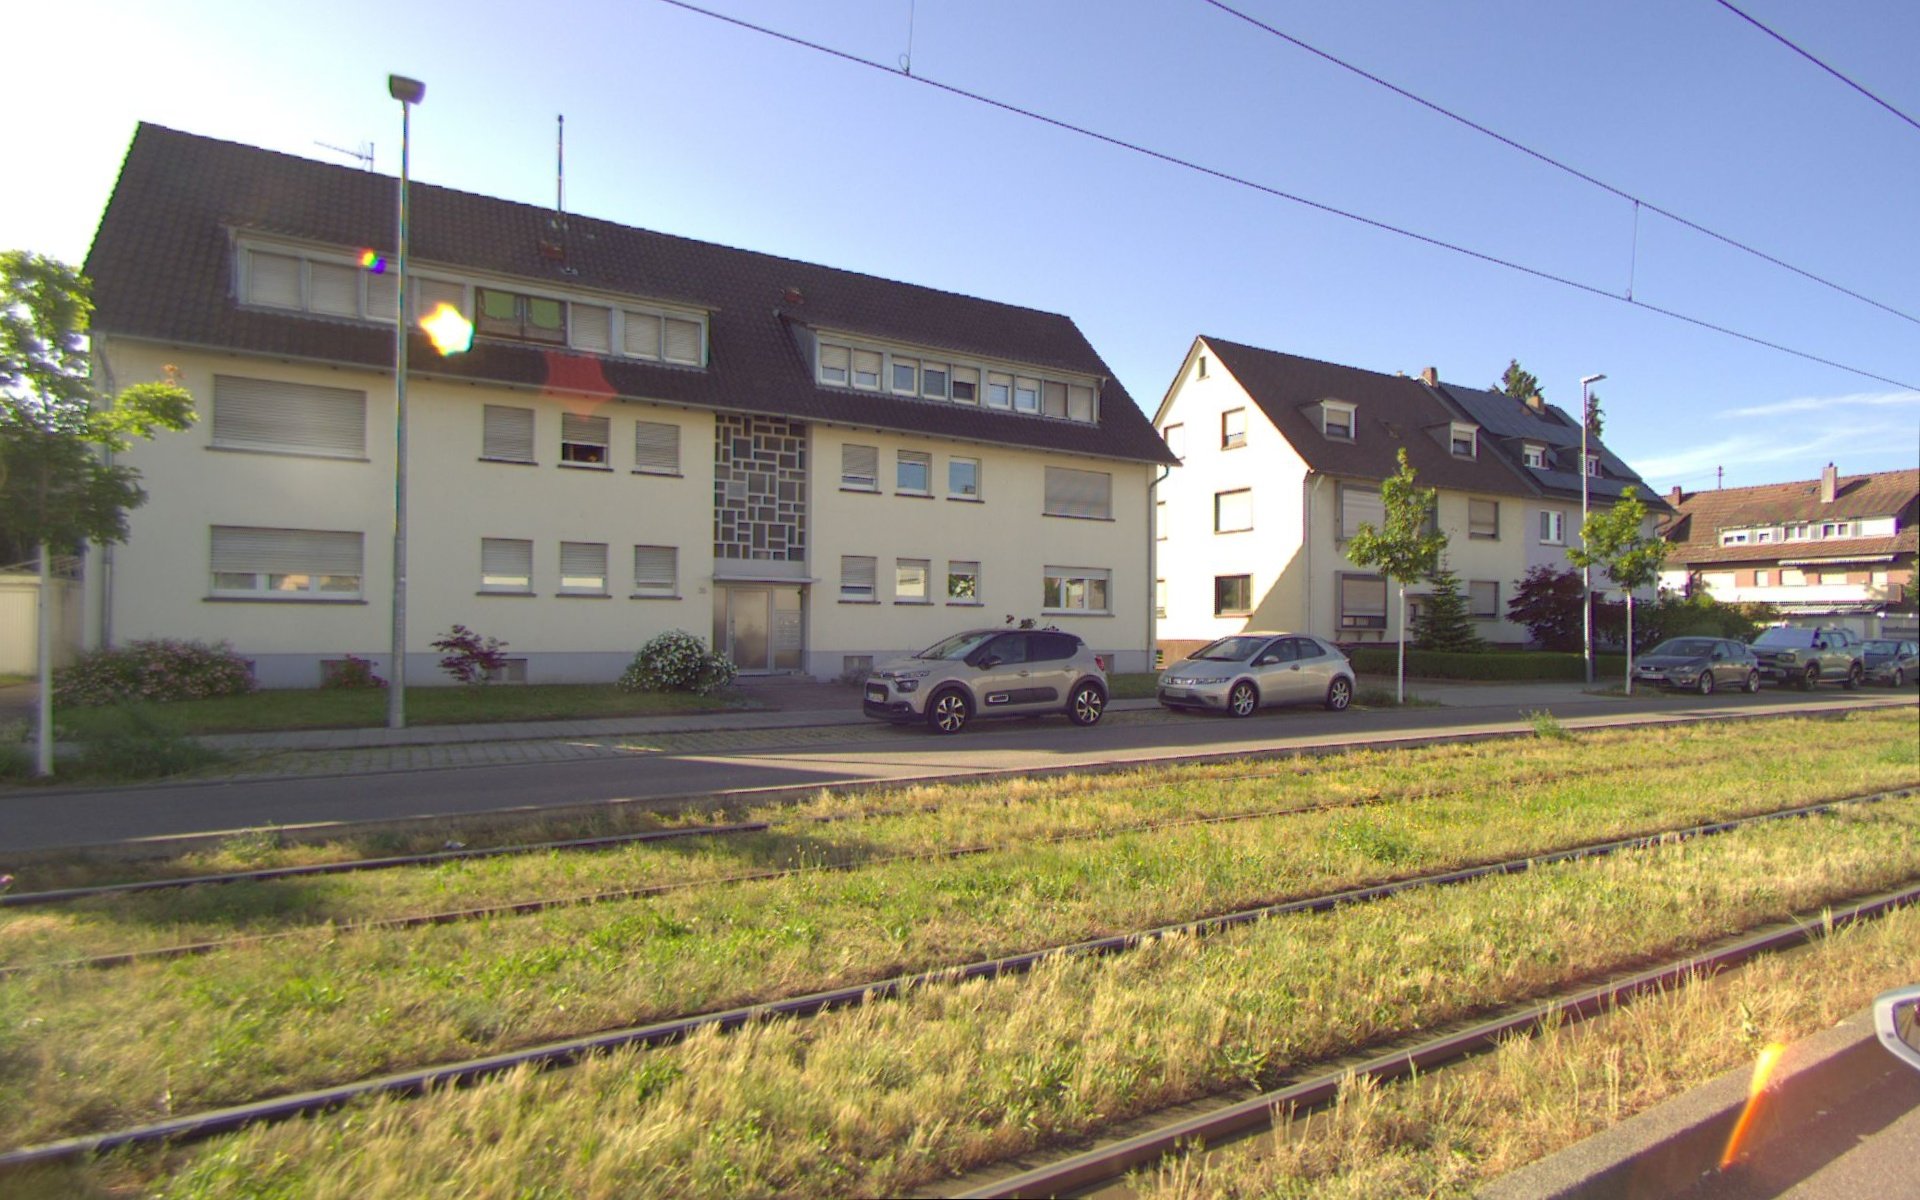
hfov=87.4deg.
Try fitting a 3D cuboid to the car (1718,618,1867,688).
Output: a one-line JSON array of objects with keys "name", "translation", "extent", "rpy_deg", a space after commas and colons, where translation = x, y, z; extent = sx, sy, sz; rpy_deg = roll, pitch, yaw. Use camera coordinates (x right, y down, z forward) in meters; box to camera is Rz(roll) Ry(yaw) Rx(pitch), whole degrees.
[{"name": "car", "translation": [24.312, 1.506, 29.284], "extent": [4.783, 1.847, 1.737], "rpy_deg": [2, 0, -30]}]

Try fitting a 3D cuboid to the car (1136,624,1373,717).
[{"name": "car", "translation": [5.483, 1.252, 18.530], "extent": [4.393, 1.495, 1.679], "rpy_deg": [2, 0, -32]}]

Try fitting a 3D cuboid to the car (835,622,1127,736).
[{"name": "car", "translation": [0.385, 1.150, 15.507], "extent": [4.266, 1.492, 1.679], "rpy_deg": [2, 0, -32]}]

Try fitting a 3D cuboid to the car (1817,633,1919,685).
[{"name": "car", "translation": [29.534, 1.877, 32.429], "extent": [4.005, 1.510, 1.667], "rpy_deg": [2, 0, -32]}]

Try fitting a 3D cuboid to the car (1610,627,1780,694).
[{"name": "car", "translation": [19.461, 1.577, 26.567], "extent": [4.503, 1.561, 1.951], "rpy_deg": [2, 0, -30]}]
